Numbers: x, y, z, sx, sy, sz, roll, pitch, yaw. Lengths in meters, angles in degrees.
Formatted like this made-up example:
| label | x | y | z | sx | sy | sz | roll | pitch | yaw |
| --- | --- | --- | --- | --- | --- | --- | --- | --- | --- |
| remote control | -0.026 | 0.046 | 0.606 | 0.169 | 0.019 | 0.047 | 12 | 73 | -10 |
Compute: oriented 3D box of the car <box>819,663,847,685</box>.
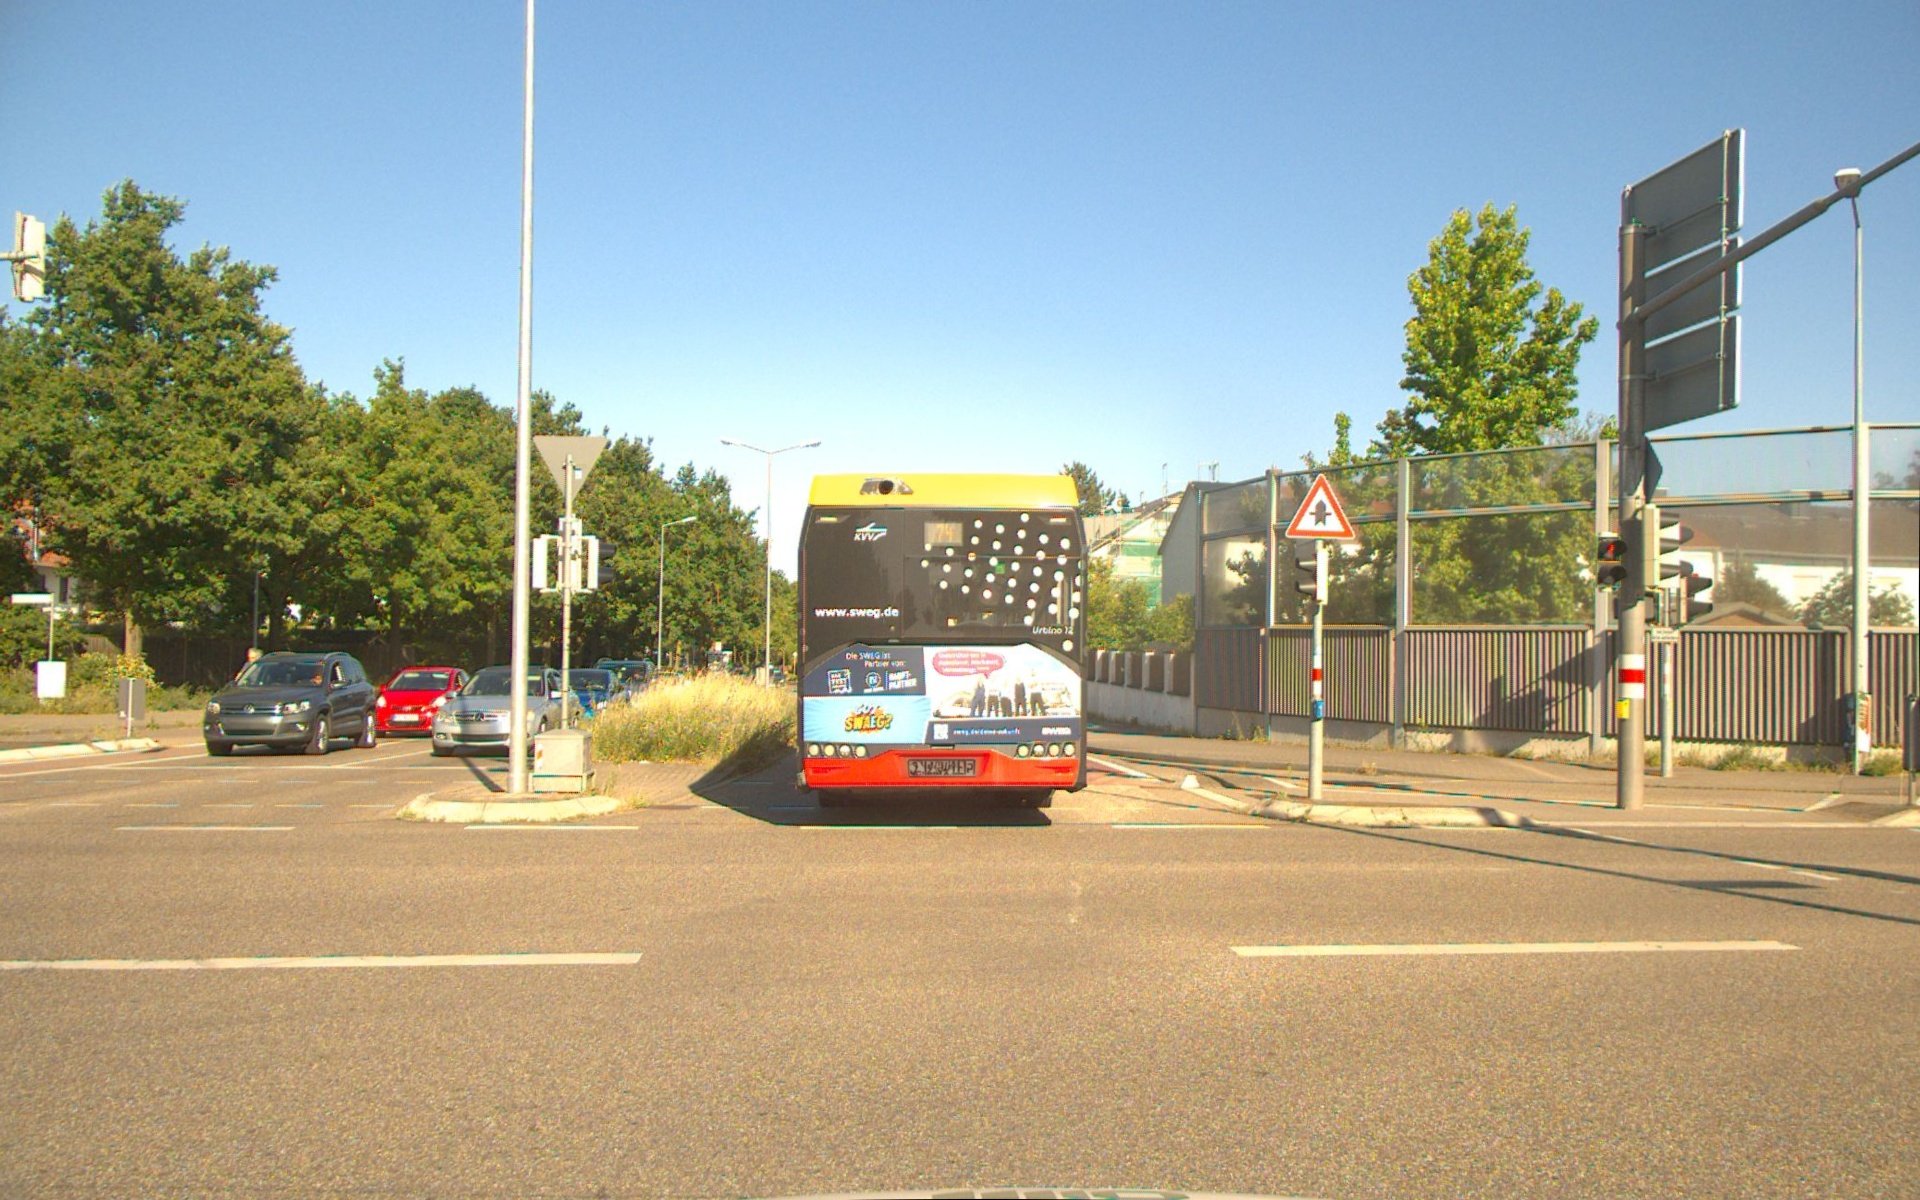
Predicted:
| label | x | y | z | sx | sy | sz | roll | pitch | yaw |
| --- | --- | --- | --- | --- | --- | --- | --- | --- | --- |
| car | -10.408 | 6.047 | 135.252 | 1.900 | 1.734 | 3.991 | 1 | -2 | -9 |

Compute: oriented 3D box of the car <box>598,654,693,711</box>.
| label | x | y | z | sx | sy | sz | roll | pitch | yaw |
| --- | --- | --- | --- | --- | --- | --- | --- | --- | --- |
| car | -8.568 | 2.234 | 45.403 | 1.954 | 1.476 | 4.395 | 0 | -2 | -3 |

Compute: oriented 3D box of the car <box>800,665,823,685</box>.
| label | x | y | z | sx | sy | sz | roll | pitch | yaw |
| --- | --- | --- | --- | --- | --- | --- | --- | --- | --- |
| car | -14.127 | 7.112 | 156.751 | 1.897 | 1.773 | 3.991 | 1 | -2 | -9 |

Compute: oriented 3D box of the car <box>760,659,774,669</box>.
| label | x | y | z | sx | sy | sz | roll | pitch | yaw |
| --- | --- | --- | --- | --- | --- | --- | --- | --- | --- |
| car | -29.251 | 9.690 | 250.969 | 1.898 | 1.480 | 3.990 | 1 | -2 | -10 |

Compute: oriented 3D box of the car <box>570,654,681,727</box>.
| label | x | y | z | sx | sy | sz | roll | pitch | yaw |
| --- | --- | --- | --- | --- | --- | --- | --- | --- | --- |
| car | -7.943 | 2.118 | 39.712 | 1.954 | 1.645 | 4.526 | 0 | -2 | -3 |

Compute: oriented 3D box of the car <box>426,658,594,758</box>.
| label | x | y | z | sx | sy | sz | roll | pitch | yaw |
| --- | --- | --- | --- | --- | --- | --- | --- | --- | --- |
| car | -7.525 | 1.770 | 28.096 | 1.757 | 1.533 | 4.527 | 0 | -2 | -2 |

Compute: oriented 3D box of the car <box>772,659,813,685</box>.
| label | x | y | z | sx | sy | sz | roll | pitch | yaw |
| --- | --- | --- | --- | --- | --- | --- | --- | --- | --- |
| car | -9.954 | 4.263 | 98.304 | 1.673 | 1.456 | 4.002 | -1 | -2 | 5 |

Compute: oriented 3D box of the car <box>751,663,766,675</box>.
| label | x | y | z | sx | sy | sz | roll | pitch | yaw |
| --- | --- | --- | --- | --- | --- | --- | --- | --- | --- |
| car | -27.367 | 9.334 | 224.892 | 1.897 | 1.569 | 3.991 | 1 | -2 | -9 |

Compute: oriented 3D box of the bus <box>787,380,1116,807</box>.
| label | x | y | z | sx | sy | sz | roll | pitch | yaw |
| --- | --- | --- | --- | --- | --- | --- | --- | --- | --- |
| bus | -0.264 | 0.244 | 19.867 | 2.702 | 3.519 | 12.390 | 0 | -3 | -2 |

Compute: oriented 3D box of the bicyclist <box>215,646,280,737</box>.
| label | x | y | z | sx | sy | sz | roll | pitch | yaw |
| --- | --- | --- | --- | --- | --- | --- | --- | --- | --- |
| bicyclist | -13.767 | 1.758 | 31.991 | 0.729 | 1.732 | 1.241 | 1 | -2 | -3 |

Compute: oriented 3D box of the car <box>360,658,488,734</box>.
| label | x | y | z | sx | sy | sz | roll | pitch | yaw |
| --- | --- | --- | --- | --- | --- | --- | --- | --- | --- |
| car | -11.369 | 2.006 | 35.302 | 1.612 | 1.509 | 3.711 | 0 | -2 | -2 |

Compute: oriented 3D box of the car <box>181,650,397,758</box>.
| label | x | y | z | sx | sy | sz | roll | pitch | yaw |
| --- | --- | --- | --- | --- | --- | --- | --- | --- | --- |
| car | -11.264 | 1.694 | 28.131 | 1.953 | 1.673 | 4.527 | 0 | -2 | -2 |

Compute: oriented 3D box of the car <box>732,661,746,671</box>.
| label | x | y | z | sx | sy | sz | roll | pitch | yaw |
| --- | --- | --- | --- | --- | --- | --- | --- | --- | --- |
| car | -33.317 | 10.022 | 249.723 | 1.898 | 1.480 | 3.990 | 1 | -2 | -10 |

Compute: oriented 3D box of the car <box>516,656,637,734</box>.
| label | x | y | z | sx | sy | sz | roll | pitch | yaw |
| --- | --- | --- | --- | --- | --- | --- | --- | --- | --- |
| car | -7.886 | 1.926 | 34.322 | 1.712 | 1.509 | 3.885 | 0 | -2 | -2 |
